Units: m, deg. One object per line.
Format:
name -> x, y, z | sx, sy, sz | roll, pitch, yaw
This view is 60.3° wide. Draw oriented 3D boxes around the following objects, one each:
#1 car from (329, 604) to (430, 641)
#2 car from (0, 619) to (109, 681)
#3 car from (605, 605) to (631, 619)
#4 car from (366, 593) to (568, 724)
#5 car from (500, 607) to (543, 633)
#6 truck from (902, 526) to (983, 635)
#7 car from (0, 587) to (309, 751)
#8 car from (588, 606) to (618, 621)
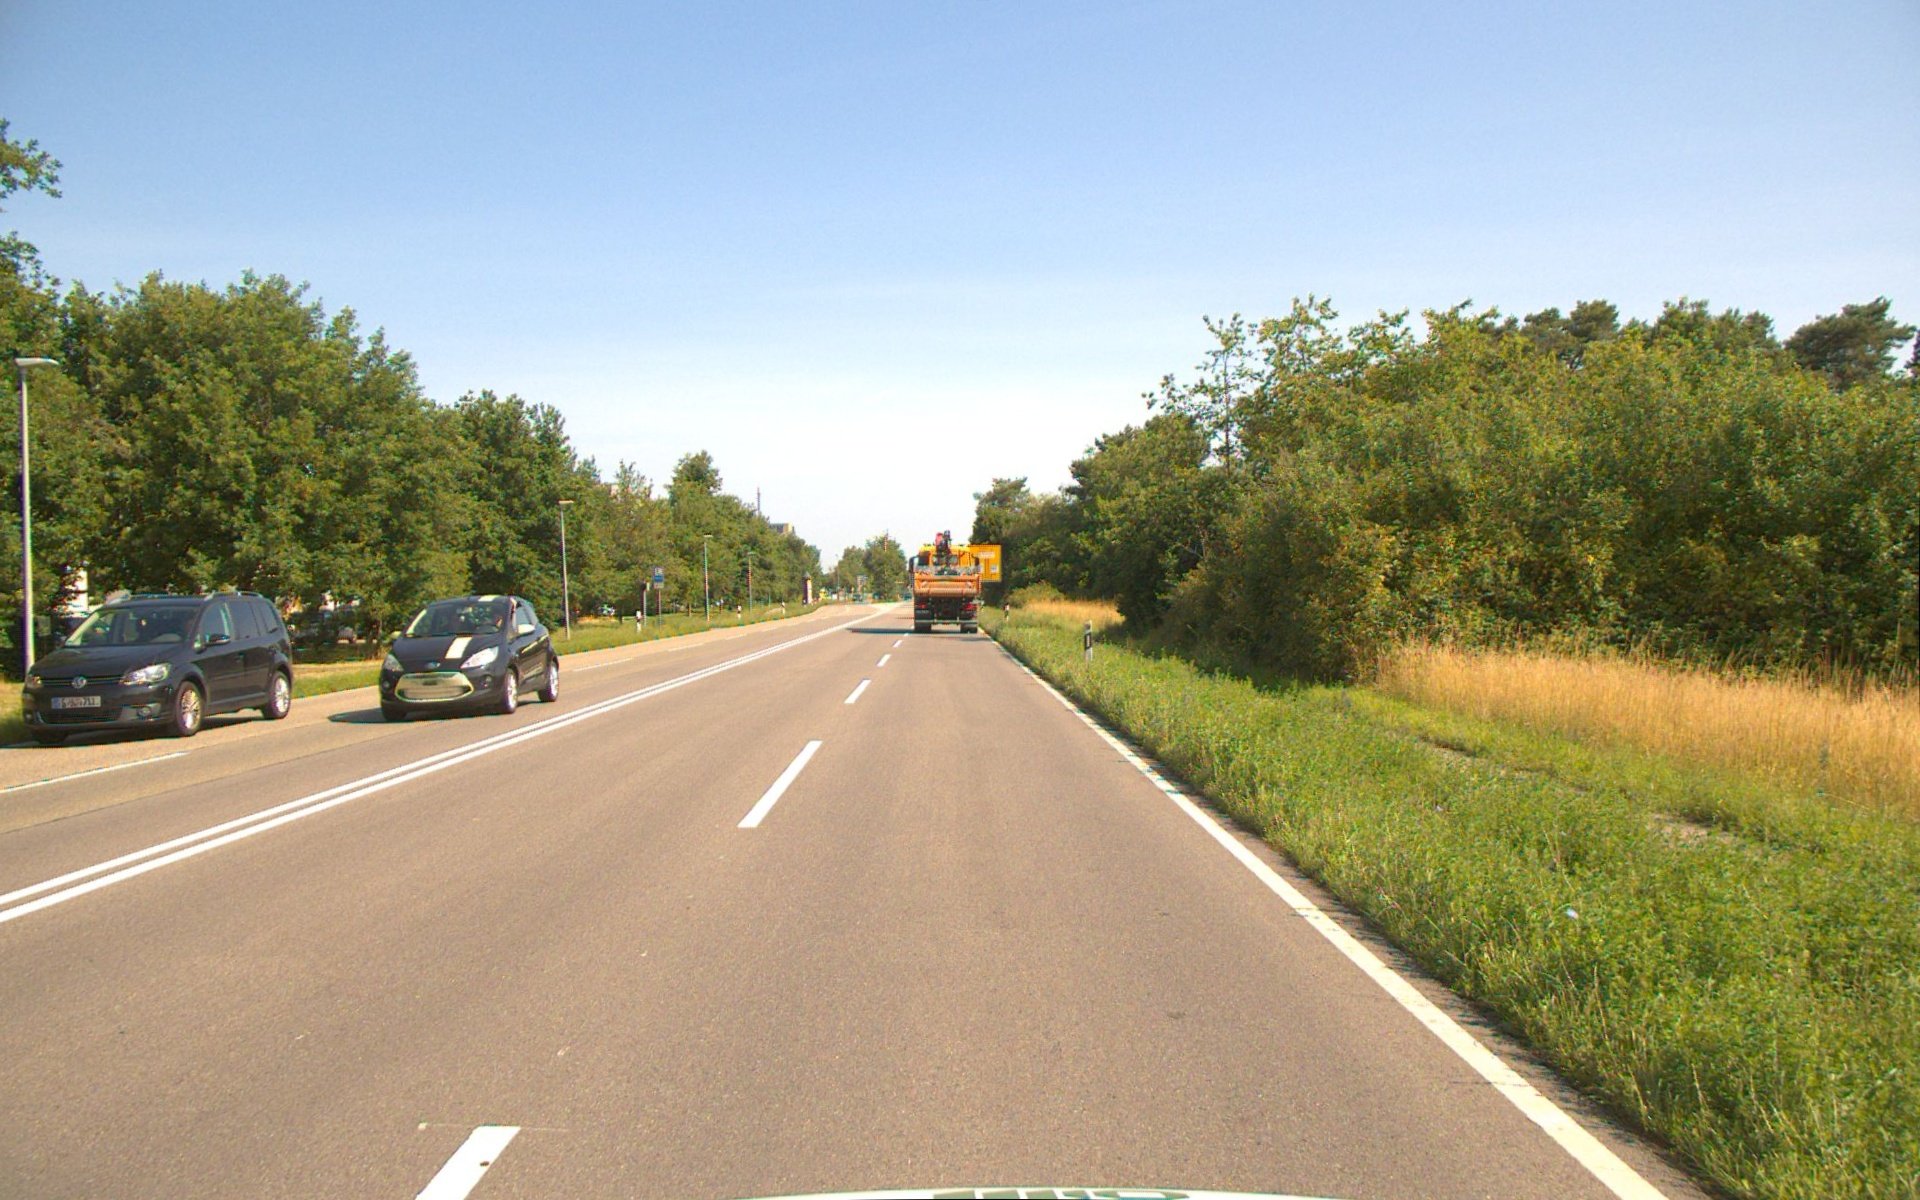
car -> -31.020, 1.191, 88.464 | 2.028, 1.838, 5.007 | -1, 0, 29
car -> -29.452, 1.602, 52.132 | 4.137, 1.761, 1.999 | -3, 0, -2
car -> -36.981, 1.277, 178.875 | 1.953, 1.462, 4.609 | -1, 0, -1
car -> -6.331, 0.692, 21.628 | 1.486, 1.475, 3.774 | -3, 0, -1
car -> -29.325, 1.321, 110.772 | 1.708, 1.606, 4.548 | -1, 0, -1
truck -> -0.771, -0.732, 64.563 | 2.814, 3.948, 7.395 | 1, 0, -3
car -> -9.742, 0.749, 20.319 | 1.789, 1.701, 4.388 | -3, 0, -2
car -> -36.439, 1.340, 168.922 | 1.952, 1.462, 4.955 | -1, 0, 1
